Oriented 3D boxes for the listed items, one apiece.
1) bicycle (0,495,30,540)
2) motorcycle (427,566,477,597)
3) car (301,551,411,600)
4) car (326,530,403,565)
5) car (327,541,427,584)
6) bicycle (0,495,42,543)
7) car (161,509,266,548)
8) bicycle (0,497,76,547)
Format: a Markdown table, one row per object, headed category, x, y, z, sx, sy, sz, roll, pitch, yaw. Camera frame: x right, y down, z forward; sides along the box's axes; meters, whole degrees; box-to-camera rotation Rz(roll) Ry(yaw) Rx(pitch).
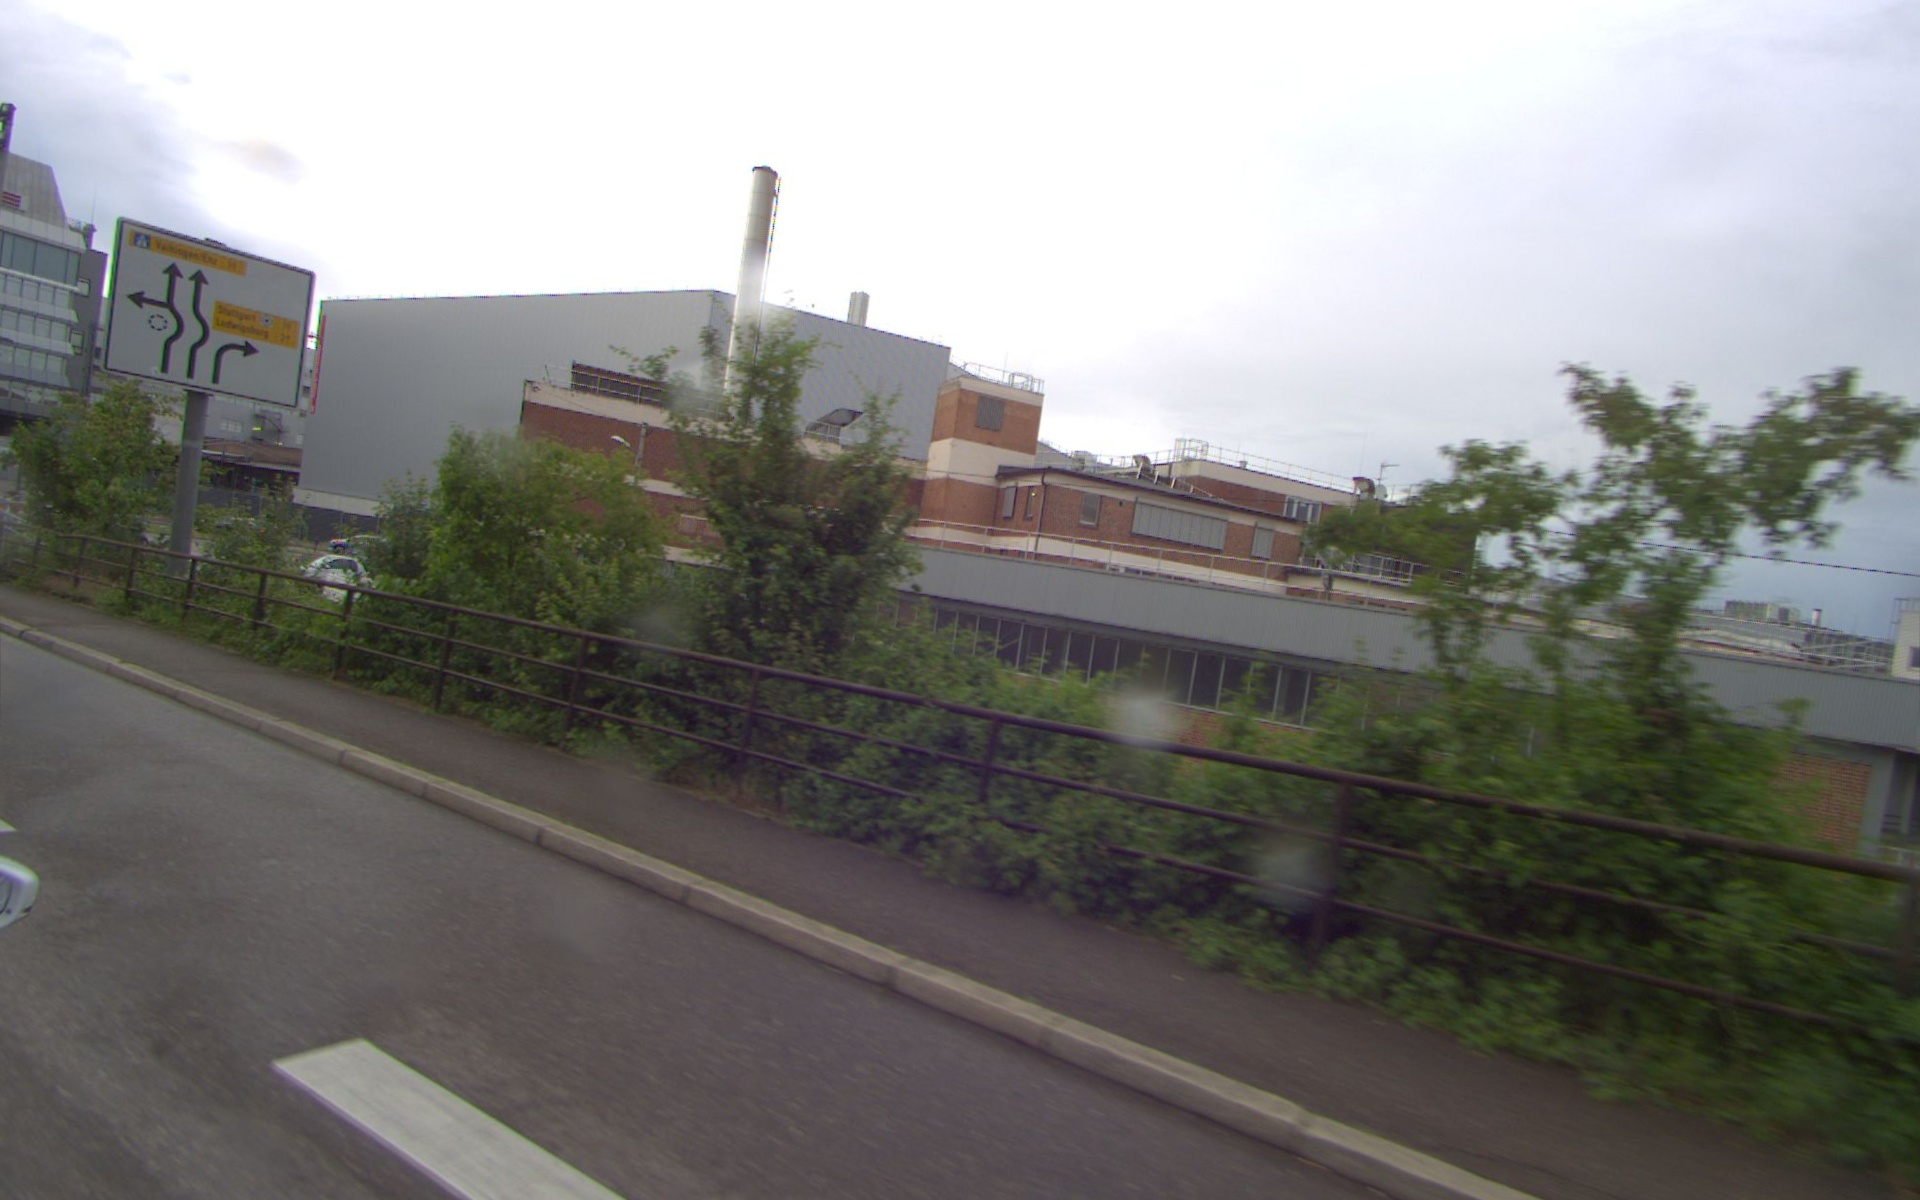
| category | x | y | z | sx | sy | sz | roll | pitch | yaw |
| --- | --- | --- | --- | --- | --- | --- | --- | --- | --- |
| bicycle | -27.565 | -2.397 | 28.427 | 0.588 | 1.239 | 1.932 | 6 | 0 | 3 |
| motorcycle | -23.777 | -0.853 | 47.096 | 1.997 | 1.206 | 0.605 | 5 | 4 | -27 |
| car | -25.305 | -0.997 | 42.205 | 1.670 | 1.500 | 3.543 | 11 | 2 | 43 |
| car | -39.472 | -3.453 | 66.766 | 3.924 | 1.620 | 1.904 | 9 | 0 | -17 |
| car | -29.915 | -1.920 | 51.677 | 4.086 | 1.548 | 1.838 | 8 | -1 | 8 |
| bicycle | -26.912 | -2.312 | 28.117 | 0.588 | 1.239 | 1.932 | 6 | 0 | 2 |
| car | -44.365 | -4.222 | 59.880 | 4.518 | 1.558 | 1.750 | 9 | 0 | -17 |
| bicycle | -26.000 | -2.193 | 28.065 | 0.588 | 1.193 | 1.933 | 7 | 0 | 16 |
